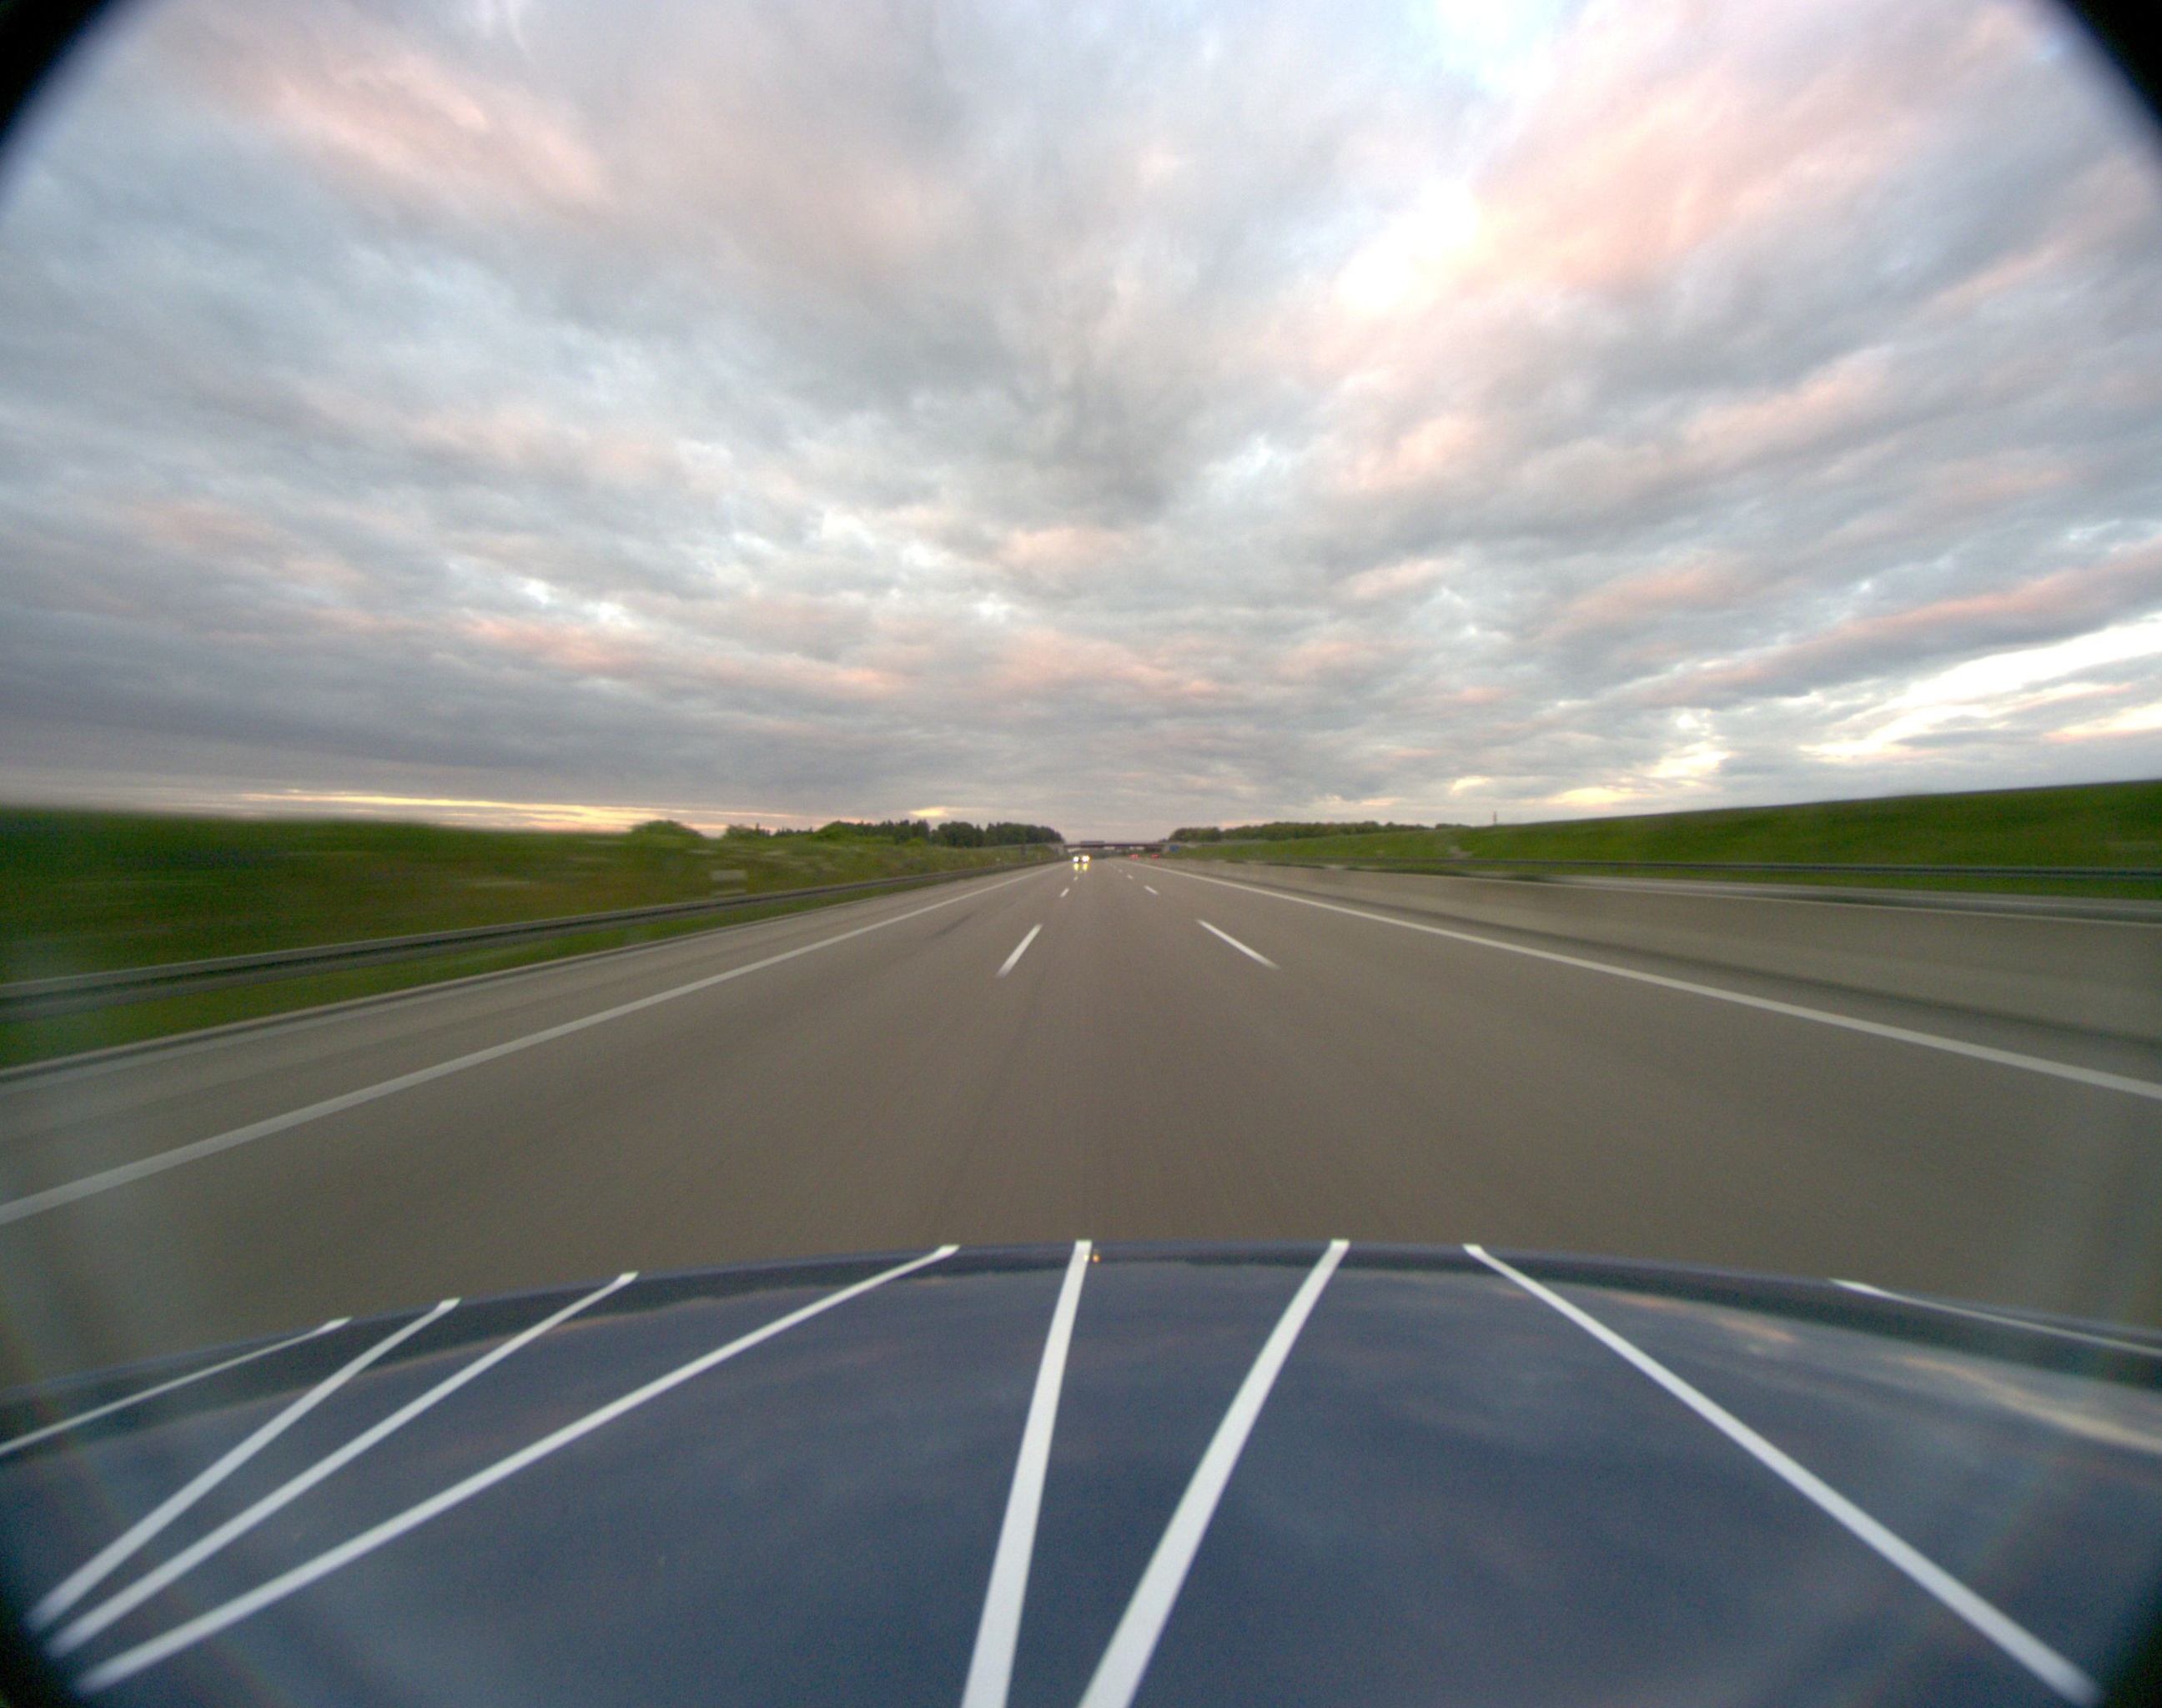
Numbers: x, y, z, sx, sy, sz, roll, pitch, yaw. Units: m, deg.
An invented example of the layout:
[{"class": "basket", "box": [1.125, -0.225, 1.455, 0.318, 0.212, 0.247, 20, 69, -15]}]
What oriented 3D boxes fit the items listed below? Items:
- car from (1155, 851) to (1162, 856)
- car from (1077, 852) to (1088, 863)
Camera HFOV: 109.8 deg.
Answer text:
[{"class": "car", "box": [24.863, -0.102, 244.792, 1.743, 1.384, 4.342, -1, 0, 1]}, {"class": "car", "box": [0.253, 0.601, 130.984, 1.801, 1.674, 4.385, -1, 1, 1]}]
